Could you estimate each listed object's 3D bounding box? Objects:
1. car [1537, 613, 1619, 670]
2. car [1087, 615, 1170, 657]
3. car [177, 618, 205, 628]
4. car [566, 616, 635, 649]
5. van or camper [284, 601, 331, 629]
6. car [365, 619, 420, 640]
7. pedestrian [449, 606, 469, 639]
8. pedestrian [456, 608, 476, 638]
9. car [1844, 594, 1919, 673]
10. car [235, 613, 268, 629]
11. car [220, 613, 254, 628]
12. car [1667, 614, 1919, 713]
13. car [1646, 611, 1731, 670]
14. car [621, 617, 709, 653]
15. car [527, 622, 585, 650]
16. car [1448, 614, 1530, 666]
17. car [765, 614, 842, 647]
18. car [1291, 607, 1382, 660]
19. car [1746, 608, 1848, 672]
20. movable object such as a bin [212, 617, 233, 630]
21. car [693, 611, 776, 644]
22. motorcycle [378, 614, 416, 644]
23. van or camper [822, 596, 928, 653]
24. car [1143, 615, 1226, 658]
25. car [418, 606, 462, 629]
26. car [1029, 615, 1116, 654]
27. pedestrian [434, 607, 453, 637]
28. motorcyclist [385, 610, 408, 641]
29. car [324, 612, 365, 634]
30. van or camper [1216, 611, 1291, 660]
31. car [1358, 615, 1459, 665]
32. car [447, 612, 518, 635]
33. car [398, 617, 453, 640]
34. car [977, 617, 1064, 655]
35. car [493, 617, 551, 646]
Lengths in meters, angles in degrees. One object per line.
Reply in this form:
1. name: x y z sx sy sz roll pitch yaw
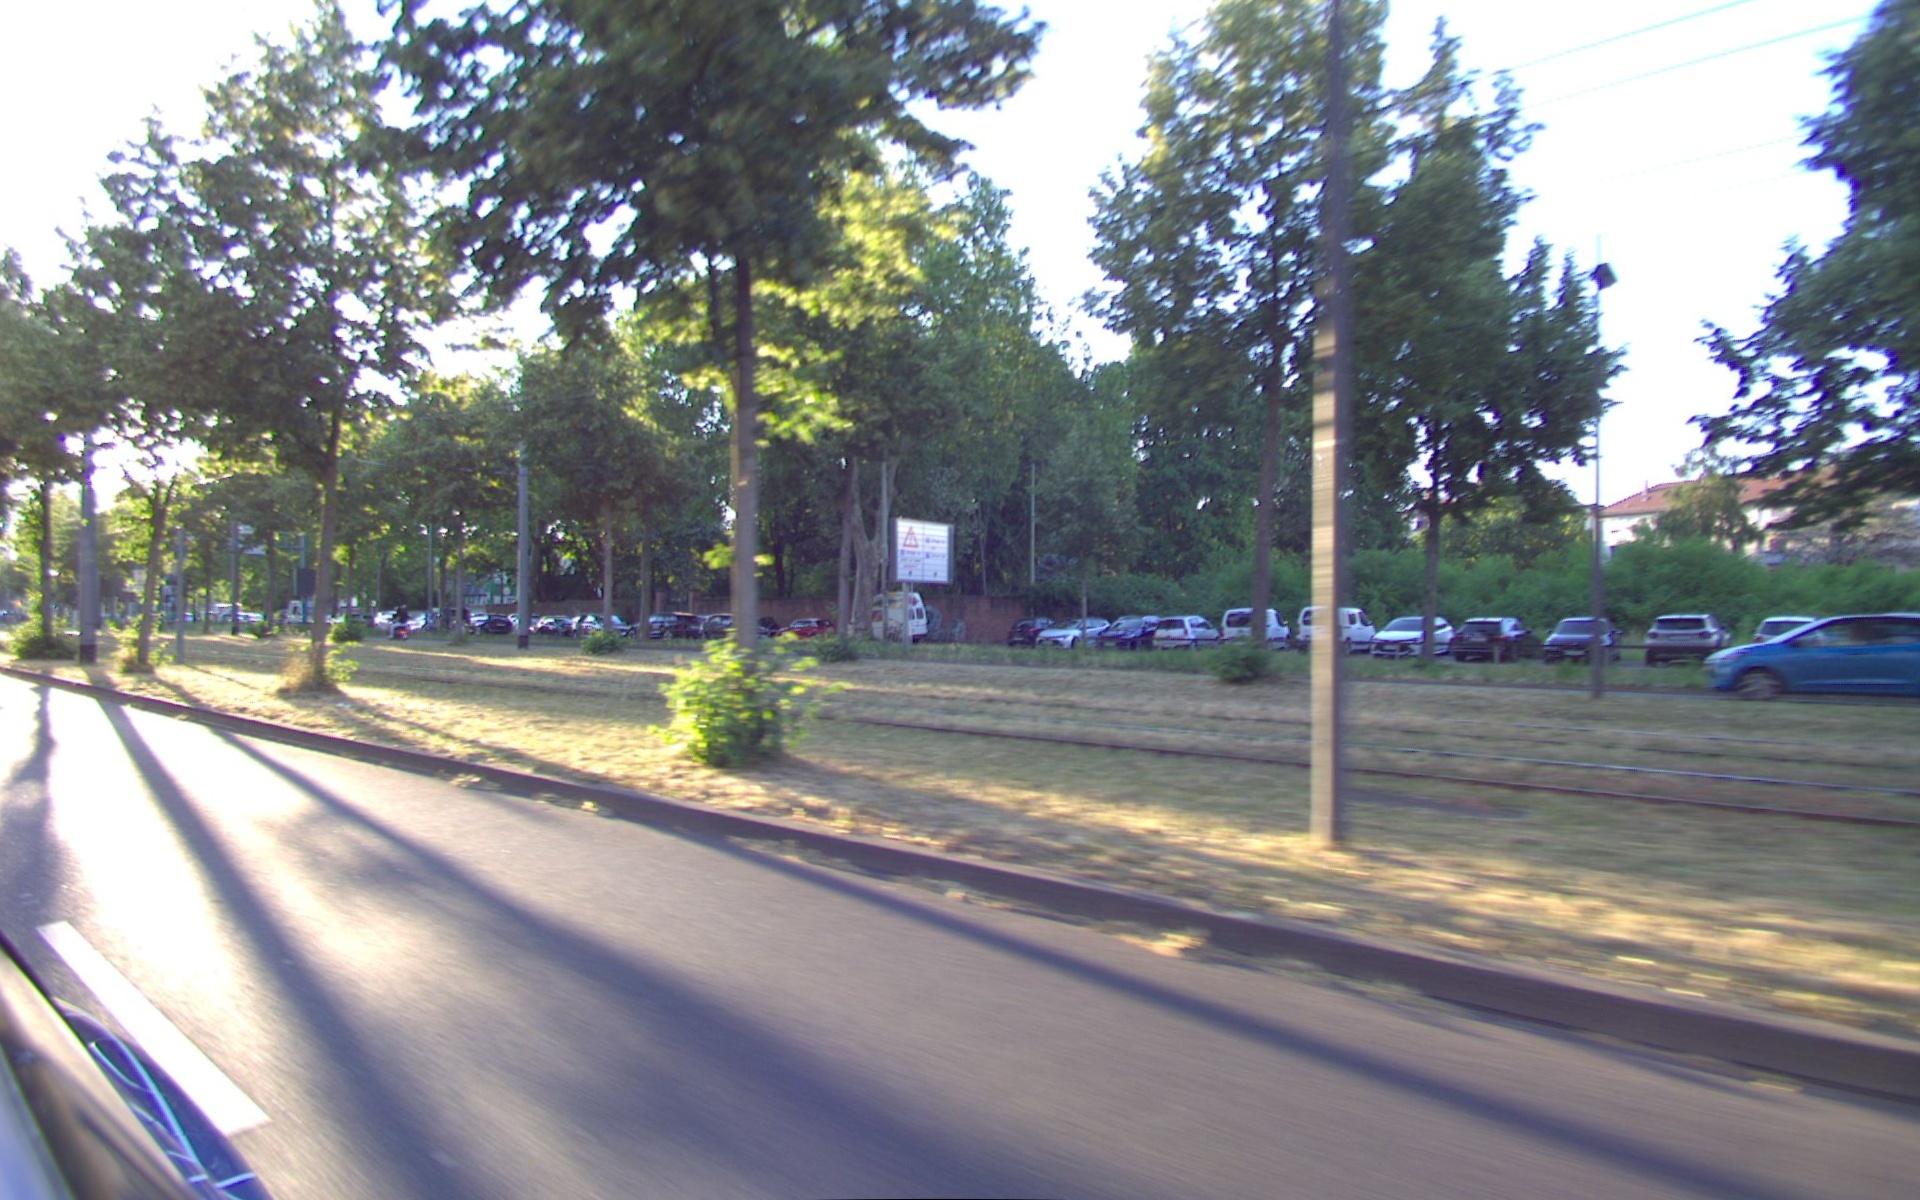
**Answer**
1. car: 19.574 1.252 31.961 1.918 1.652 3.952 -1 -1 36
2. car: 7.135 1.484 42.702 1.918 1.652 3.952 -1 -1 36
3. car: -94.251 2.785 124.027 4.087 1.210 1.973 -1 -1 41
4. car: -19.729 1.751 55.507 4.162 1.763 1.971 -1 -1 44
5. van or camper: -58.237 1.343 90.269 5.784 2.383 2.259 -1 -1 44
6. car: -40.683 2.087 72.515 4.553 1.510 1.973 -1 -1 40
7. pedestrian: -29.317 1.324 59.236 0.863 1.884 0.688 -1 -1 32
8. pedestrian: -29.360 1.382 60.152 0.863 1.772 0.688 -1 -1 32
9. car: 25.759 0.892 27.669 1.996 2.029 3.951 -1 -1 36
10. car: -71.805 2.131 102.594 4.051 1.543 1.791 -1 -1 41
11. car: -75.944 2.178 106.348 4.296 1.512 1.973 -1 -1 41
12. car: 14.472 0.995 16.882 4.282 1.519 1.899 -1 -1 39
13. car: 21.811 1.168 30.351 1.918 1.652 3.952 -1 -1 36
14. car: -15.241 1.759 52.149 4.785 1.763 1.974 -1 -1 39
15. car: -23.637 2.088 59.112 3.839 1.572 1.782 -1 -1 45
16. car: 17.742 1.285 33.865 1.918 1.652 3.952 -1 -1 36
17. car: -8.538 1.635 55.195 3.995 1.763 1.974 -1 -1 39
18. car: 14.058 1.190 37.660 2.010 1.858 3.947 -1 -1 39
19. car: 23.552 1.081 28.603 1.918 1.652 3.952 -1 -1 36
20. movable object such as a bin: -79.650 2.534 109.274 1.723 1.383 1.536 -1 -1 41
21. car: -10.984 1.312 49.201 3.996 1.497 1.973 -1 -1 40
22. motorcycle: -25.664 1.321 46.111 2.342 1.347 0.675 -1 -1 39
23. van or camper: -4.394 1.238 51.908 5.487 2.756 2.065 -1 -1 38
24. car: 9.284 1.451 41.644 1.918 1.652 3.952 -1 -1 36
25. car: -47.215 1.558 91.899 5.058 2.029 1.972 -1 -1 43
26. car: 5.009 1.481 44.744 1.921 1.652 3.946 -1 -1 40
27. pedestrian: -30.355 1.270 59.502 0.865 1.756 0.686 -1 -1 37
28. motorcyclist: -25.679 1.170 46.133 0.803 1.386 0.674 -1 -2 38
29. car: -49.148 1.819 80.790 1.970 1.652 4.003 1 -1 -44
30. van or camper: 11.459 1.334 39.329 1.991 1.805 3.961 -1 -1 29
31. car: 15.728 1.342 35.419 3.940 1.652 1.924 1 -1 -44
32. car: -29.025 1.420 61.482 5.138 1.325 1.973 -1 -1 40
33. car: -36.429 1.939 68.942 4.303 1.511 1.880 -1 -1 40
34. car: 2.785 1.597 45.867 1.921 1.652 3.945 -1 -1 41
35. car: -27.708 1.979 64.010 4.162 1.763 1.971 -1 -1 44
